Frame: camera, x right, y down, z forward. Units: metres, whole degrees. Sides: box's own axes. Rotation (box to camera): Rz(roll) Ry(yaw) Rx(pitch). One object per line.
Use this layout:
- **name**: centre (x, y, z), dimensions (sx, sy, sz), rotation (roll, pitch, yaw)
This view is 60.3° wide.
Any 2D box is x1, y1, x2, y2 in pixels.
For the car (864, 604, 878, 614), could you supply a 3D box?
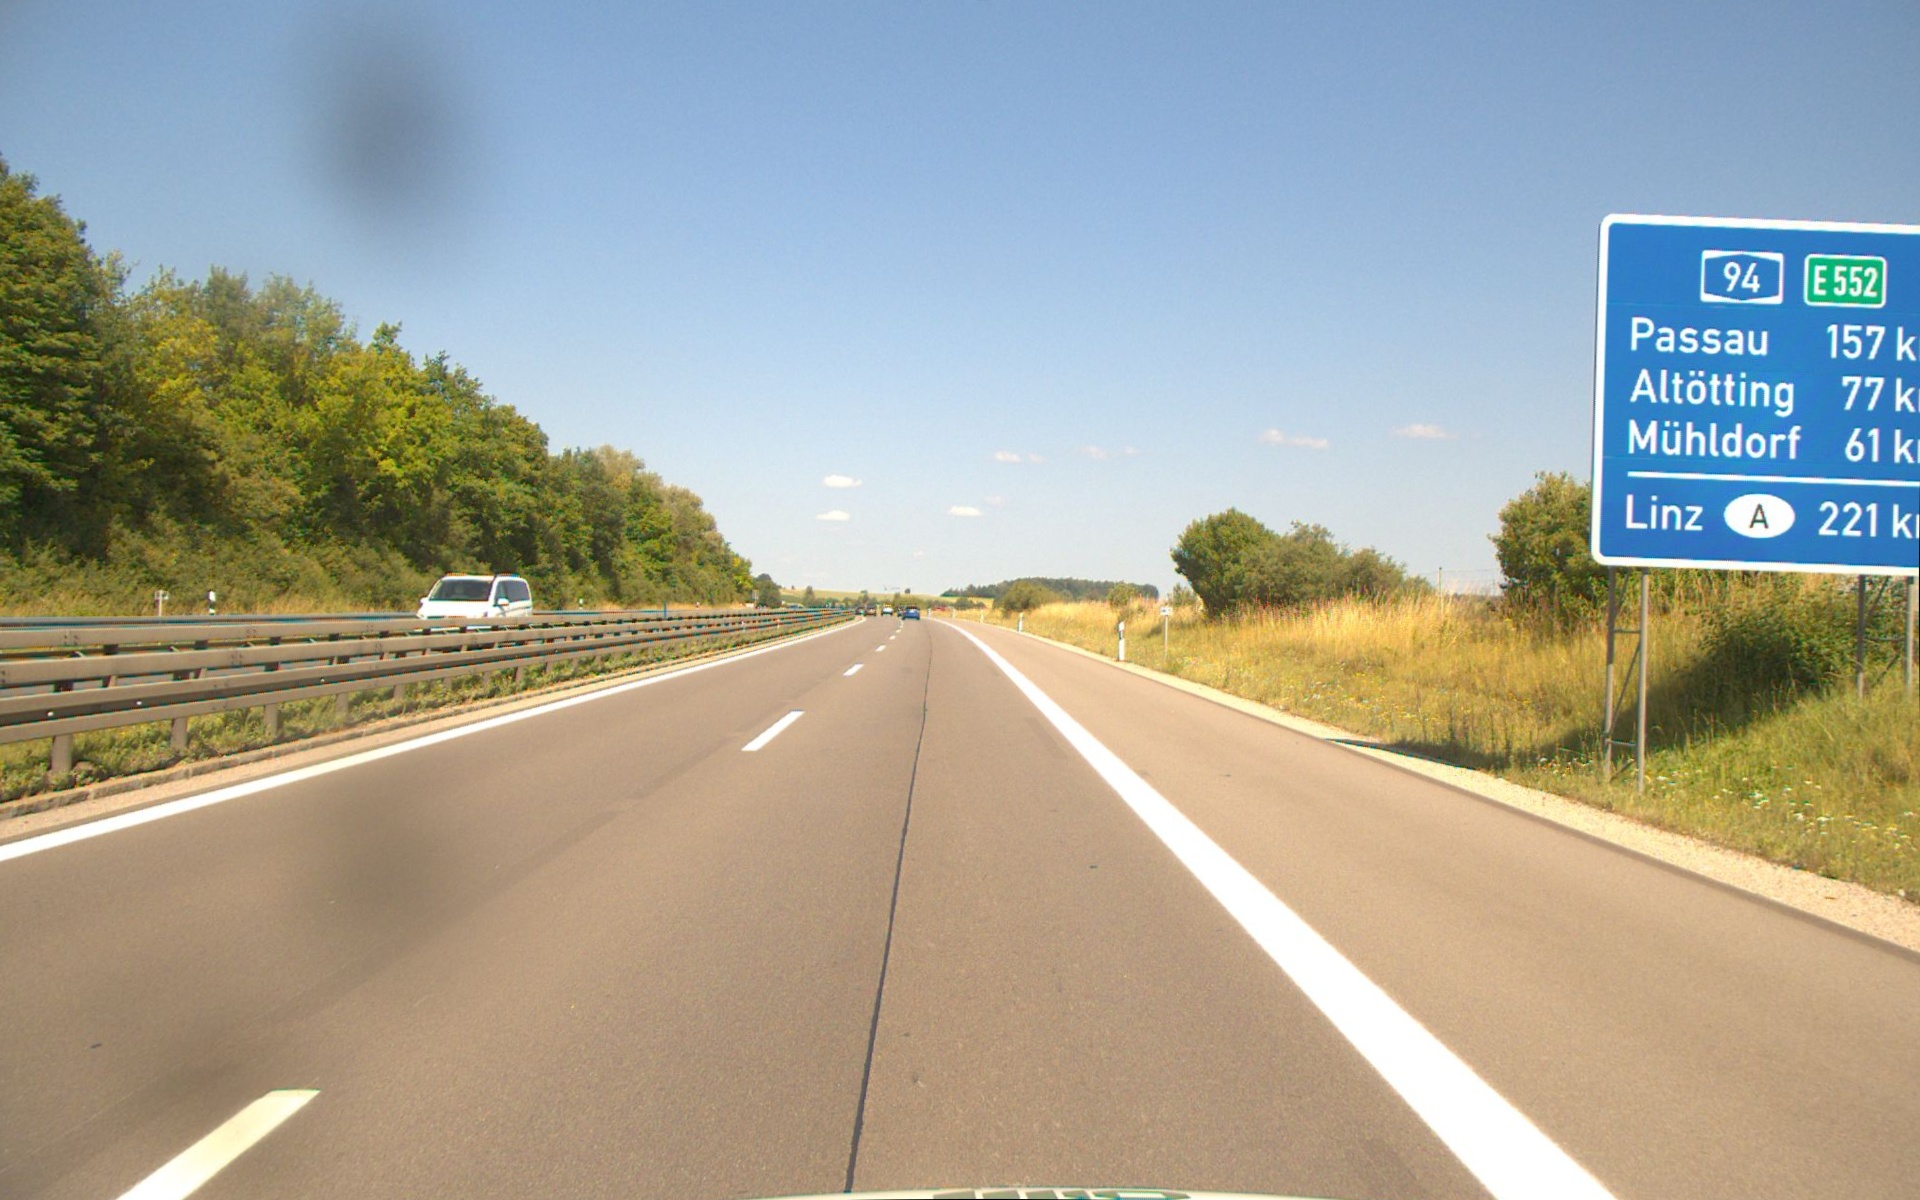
- **car**: centre (-13.109, 1.385, 243.873), dimensions (1.792, 1.479, 3.591), rotation (0, -1, 0)

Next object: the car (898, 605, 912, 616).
- **car**: centre (-7.246, 1.378, 219.129), dimensions (1.792, 1.479, 3.591), rotation (0, -1, 0)

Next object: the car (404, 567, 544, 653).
- **car**: centre (-12.357, 0.239, 42.455), dimensions (1.953, 2.025, 5.690), rotation (1, 0, -1)

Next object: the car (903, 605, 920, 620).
- **car**: centre (-4.950, 1.298, 168.062), dimensions (1.642, 1.479, 3.591), rotation (0, -1, 0)
